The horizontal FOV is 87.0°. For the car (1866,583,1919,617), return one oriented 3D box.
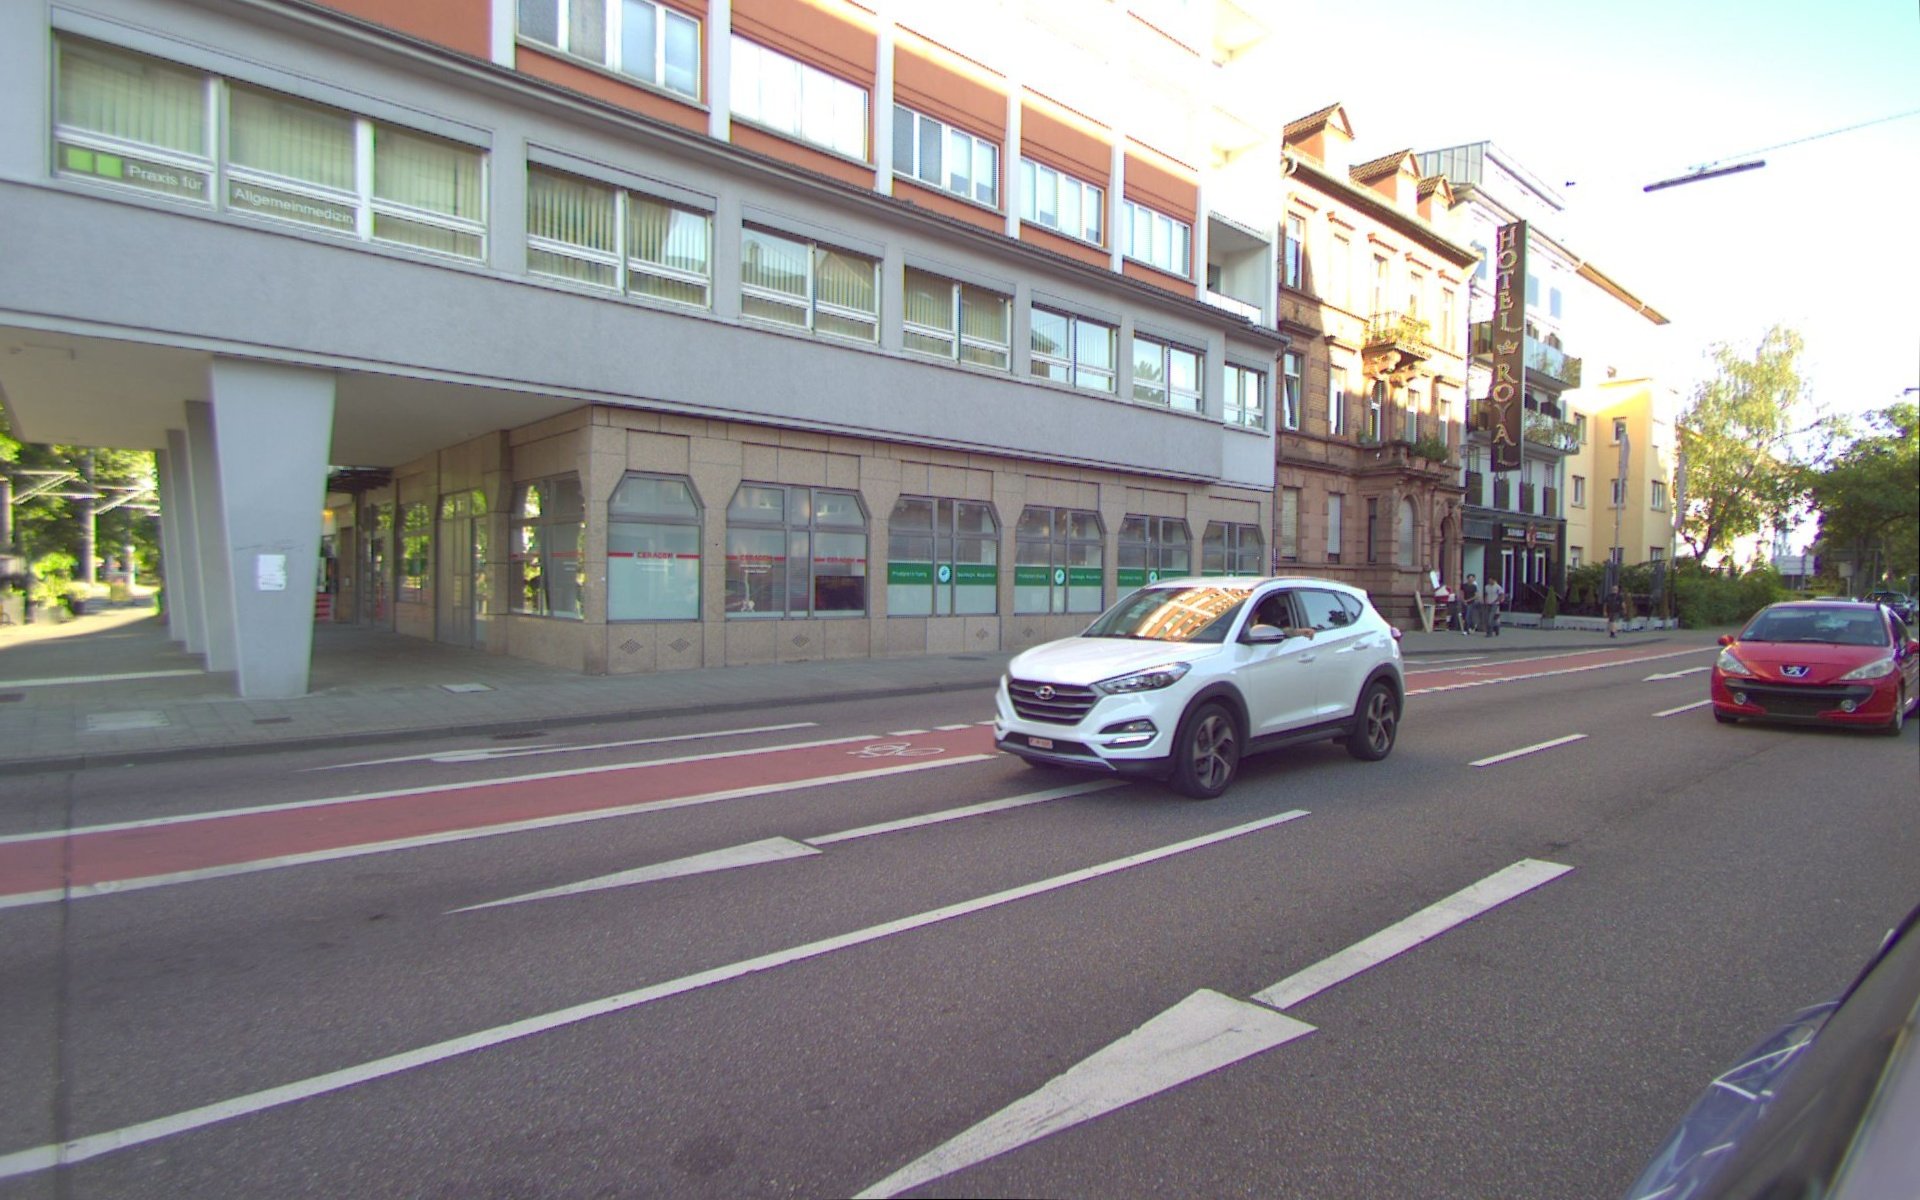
[{"bbox_3d":[47.530,-0.020,51.263,4.121,1.645,1.946,0,1,-42],"label":"car"}]

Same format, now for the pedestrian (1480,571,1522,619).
[{"bbox_3d":[19.309,-0.171,36.117,0.723,1.606,1.014,2,4,-11],"label":"pedestrian"}]

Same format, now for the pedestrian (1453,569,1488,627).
[{"bbox_3d":[15.608,-0.066,30.931,0.666,1.747,0.995,2,1,43],"label":"pedestrian"}]

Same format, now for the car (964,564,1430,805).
[{"bbox_3d":[2.234,0.542,8.923,4.195,1.627,1.920,-1,0,-41],"label":"car"}]

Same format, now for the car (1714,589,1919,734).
[{"bbox_3d":[10.754,0.617,12.366,3.930,1.481,1.673,-1,0,-41],"label":"car"}]

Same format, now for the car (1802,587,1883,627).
[{"bbox_3d":[35.872,0.256,41.110,4.003,1.536,1.905,0,1,-41],"label":"car"}]

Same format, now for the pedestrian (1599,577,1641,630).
[{"bbox_3d":[20.882,0.103,32.019,0.992,1.621,0.739,0,4,-37],"label":"pedestrian"}]

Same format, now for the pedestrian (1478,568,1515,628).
[{"bbox_3d":[16.038,-0.075,30.252,0.994,1.747,0.667,0,1,-43],"label":"pedestrian"}]

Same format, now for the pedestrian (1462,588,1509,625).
[{"bbox_3d":[16.933,0.204,32.634,0.909,1.150,1.099,0,1,-43],"label":"pedestrian"}]

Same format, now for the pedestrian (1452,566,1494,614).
[{"bbox_3d":[18.450,-0.359,36.419,0.771,1.606,1.014,2,4,-12],"label":"pedestrian"}]
